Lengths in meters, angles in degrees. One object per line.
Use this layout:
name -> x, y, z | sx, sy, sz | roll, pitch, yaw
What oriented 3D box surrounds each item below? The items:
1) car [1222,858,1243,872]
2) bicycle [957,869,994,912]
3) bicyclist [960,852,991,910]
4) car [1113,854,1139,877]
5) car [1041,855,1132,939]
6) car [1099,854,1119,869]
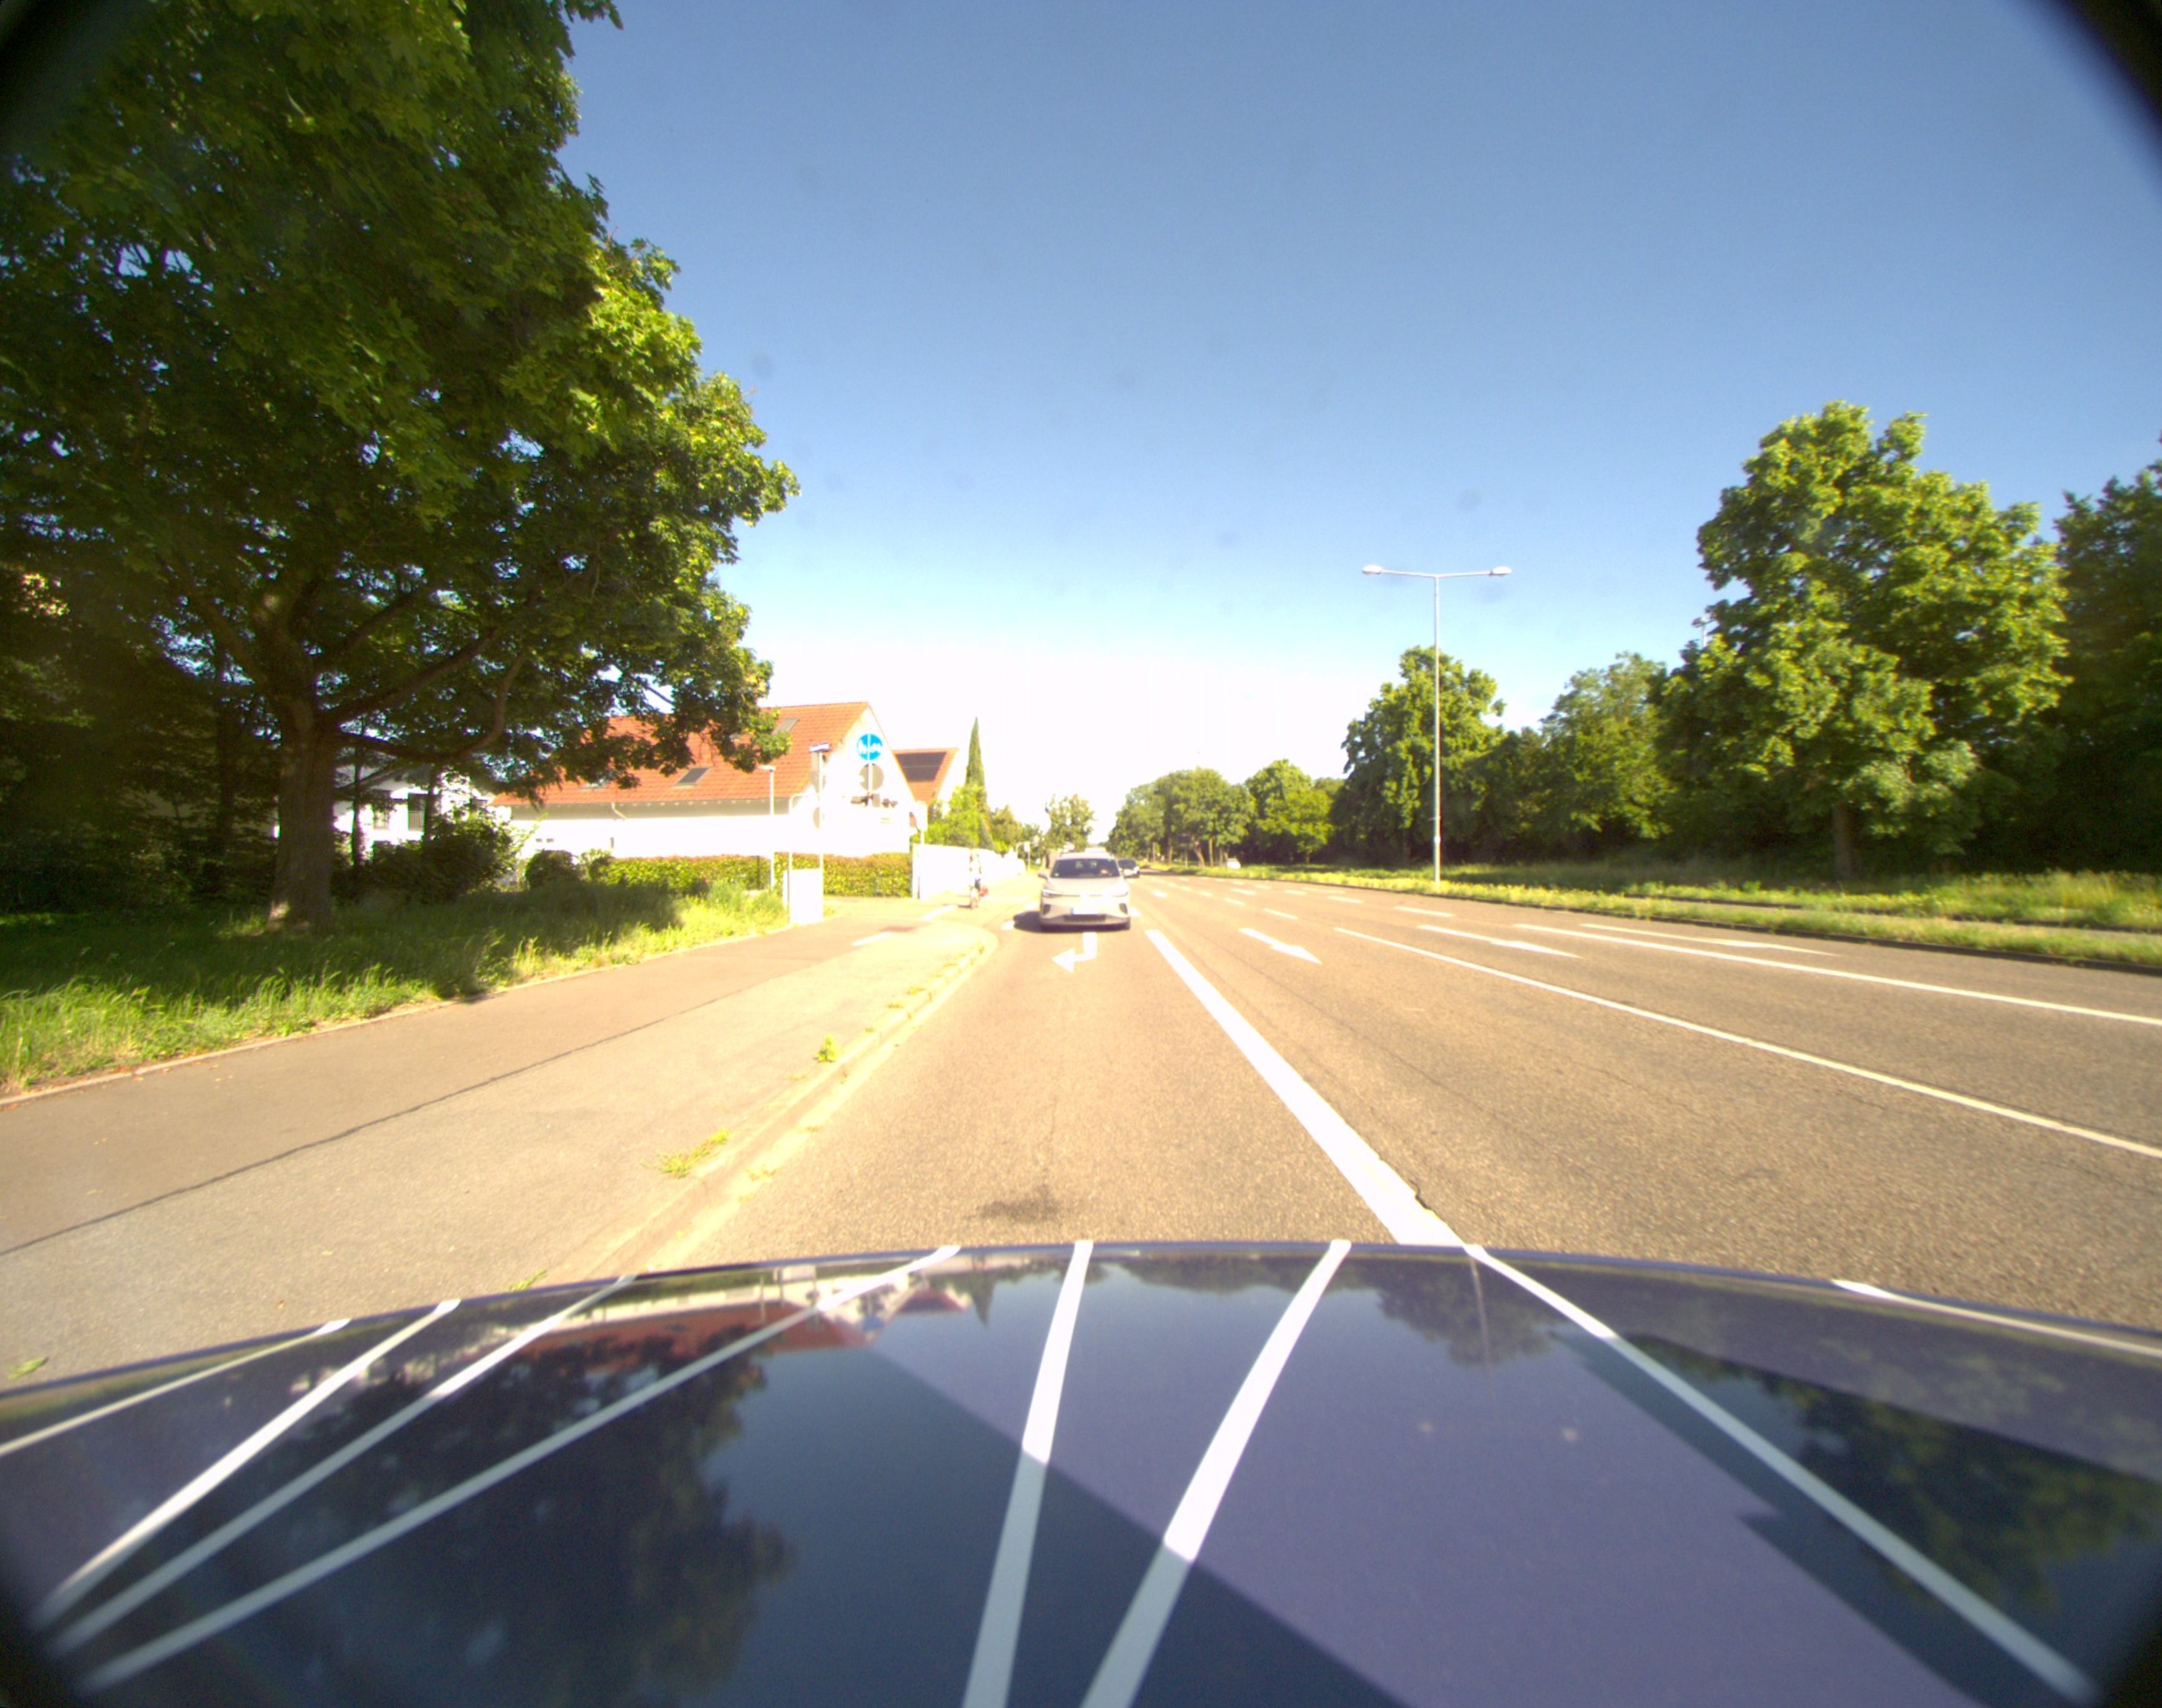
car -> 19.824, 1.420, 99.373 | 1.917, 1.693, 4.407 | -2, 1, 1
bicycle -> -3.010, 1.021, 21.844 | 0.575, 1.148, 2.141 | 3, 0, 3
bicyclist -> -3.022, 0.768, 21.865 | 0.631, 1.623, 0.982 | 3, 0, 3
car -> 3.515, 0.871, 59.486 | 1.766, 1.606, 4.297 | -2, 1, 1
car -> 0.128, 0.841, 16.948 | 1.766, 1.606, 4.297 | 0, 1, 1
car -> 3.186, 0.829, 85.994 | 1.856, 1.576, 3.998 | -2, 1, -3
